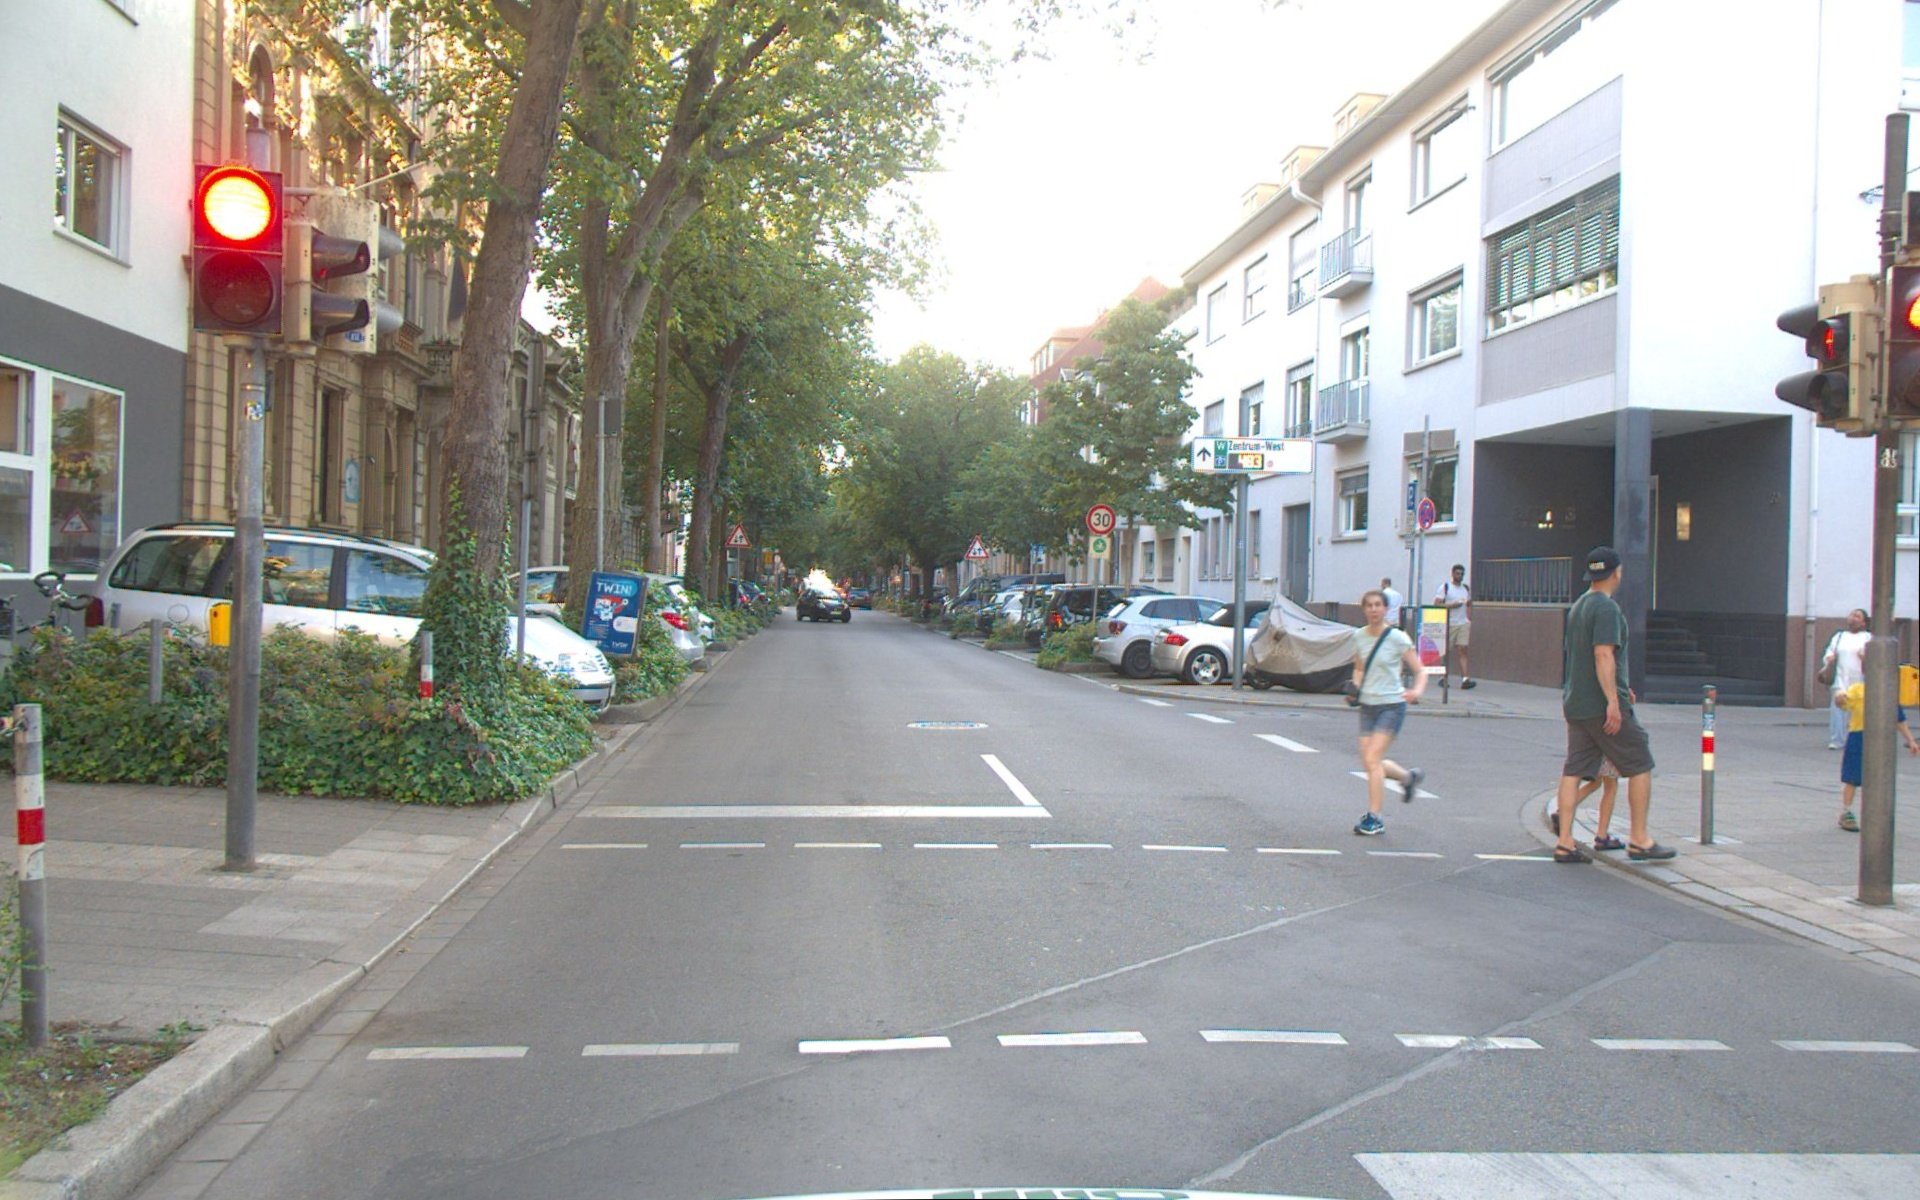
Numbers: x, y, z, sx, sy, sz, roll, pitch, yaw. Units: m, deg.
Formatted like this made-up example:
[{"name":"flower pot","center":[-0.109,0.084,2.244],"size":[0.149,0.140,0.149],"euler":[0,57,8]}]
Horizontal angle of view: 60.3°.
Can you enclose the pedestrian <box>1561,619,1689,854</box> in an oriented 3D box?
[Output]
[{"name":"pedestrian","center":[4.032,0.812,10.051],"size":[0.528,1.359,0.506],"euler":[2,0,0]}]

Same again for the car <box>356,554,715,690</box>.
[{"name":"car","center":[-5.675,0.290,22.587],"size":[4.458,1.718,1.831],"euler":[1,0,-5]}]

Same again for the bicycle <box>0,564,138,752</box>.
[{"name":"bicycle","center":[-6.646,0.366,11.436],"size":[0.720,1.207,2.632],"euler":[3,0,-4]}]

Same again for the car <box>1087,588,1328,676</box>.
[{"name":"car","center":[4.351,0.557,29.392],"size":[3.936,1.467,1.705],"euler":[1,0,-5]}]

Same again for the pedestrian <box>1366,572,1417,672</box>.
[{"name":"pedestrian","center":[7.860,0.399,30.165],"size":[0.689,1.782,0.699],"euler":[2,0,-1]}]

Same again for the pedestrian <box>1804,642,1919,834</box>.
[{"name":"pedestrian","center":[5.985,0.861,10.664],"size":[0.556,1.140,0.834],"euler":[0,1,-15]}]

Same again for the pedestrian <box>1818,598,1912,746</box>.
[{"name":"pedestrian","center":[9.639,0.746,17.615],"size":[0.761,1.527,0.798],"euler":[0,0,39]}]

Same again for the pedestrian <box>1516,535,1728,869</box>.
[{"name":"pedestrian","center":[3.833,0.566,9.636],"size":[0.870,1.847,0.794],"euler":[2,0,0]}]

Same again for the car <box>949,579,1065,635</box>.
[{"name":"car","center":[1.671,0.238,59.364],"size":[3.936,1.862,1.705],"euler":[2,0,-5]}]

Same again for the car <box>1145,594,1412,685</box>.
[{"name":"car","center":[5.102,0.619,26.811],"size":[3.936,1.366,1.705],"euler":[1,0,-5]}]

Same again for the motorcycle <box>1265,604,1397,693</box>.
[{"name":"motorcycle","center":[5.287,0.689,23.646],"size":[1.762,1.220,0.613],"euler":[1,0,4]}]

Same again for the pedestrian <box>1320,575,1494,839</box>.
[{"name":"pedestrian","center":[2.871,0.649,10.597],"size":[0.688,1.584,0.975],"euler":[2,1,40]}]

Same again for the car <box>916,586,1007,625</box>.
[{"name":"car","center":[0.053,0.240,74.256],"size":[3.936,1.629,1.705],"euler":[2,0,-5]}]

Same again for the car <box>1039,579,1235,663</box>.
[{"name":"car","center":[3.787,0.444,35.765],"size":[3.936,1.720,1.705],"euler":[1,0,-5]}]

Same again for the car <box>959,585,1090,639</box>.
[{"name":"car","center":[2.010,0.364,52.116],"size":[3.936,1.556,1.705],"euler":[2,0,-5]}]

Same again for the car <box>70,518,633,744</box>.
[{"name":"car","center":[-5.327,0.280,15.045],"size":[4.462,1.867,1.830],"euler":[1,0,-8]}]

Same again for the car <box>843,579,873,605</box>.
[{"name":"car","center":[-6.779,-0.544,109.450],"size":[1.790,1.589,4.023],"euler":[3,0,-6]}]

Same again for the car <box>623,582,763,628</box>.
[{"name":"car","center":[-8.861,0.158,55.204],"size":[4.458,1.434,1.831],"euler":[1,0,-5]}]

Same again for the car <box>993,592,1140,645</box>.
[{"name":"car","center":[2.993,0.514,47.002],"size":[3.936,1.434,1.705],"euler":[1,0,-5]}]

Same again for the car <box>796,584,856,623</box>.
[{"name":"car","center":[-6.013,0.138,73.755],"size":[1.873,1.605,3.974],"euler":[2,0,-16]}]

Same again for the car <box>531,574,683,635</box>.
[{"name":"car","center":[-9.938,0.115,46.841],"size":[3.960,1.618,1.831],"euler":[1,0,-5]}]

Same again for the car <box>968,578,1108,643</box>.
[{"name":"car","center":[2.296,0.312,49.249],"size":[3.936,1.847,1.705],"euler":[1,0,-5]}]

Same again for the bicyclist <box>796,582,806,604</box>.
[{"name":"bicyclist","center":[-10.749,-0.490,111.914],"size":[0.561,1.495,0.641],"euler":[2,-1,-11]}]

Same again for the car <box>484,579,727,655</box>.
[{"name":"car","center":[-6.946,0.322,32.793],"size":[4.458,1.396,1.831],"euler":[1,0,-5]}]

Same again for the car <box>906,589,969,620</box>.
[{"name":"car","center":[-1.453,0.271,106.918],"size":[3.936,1.862,1.705],"euler":[2,0,-5]}]

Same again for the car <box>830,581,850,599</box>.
[{"name":"car","center":[-11.644,-0.997,160.149],"size":[1.887,1.689,3.996],"euler":[1,0,-5]}]

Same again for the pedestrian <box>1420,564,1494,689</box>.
[{"name":"pedestrian","center":[7.636,0.392,25.437],"size":[0.752,1.873,0.943],"euler":[2,0,-4]}]
